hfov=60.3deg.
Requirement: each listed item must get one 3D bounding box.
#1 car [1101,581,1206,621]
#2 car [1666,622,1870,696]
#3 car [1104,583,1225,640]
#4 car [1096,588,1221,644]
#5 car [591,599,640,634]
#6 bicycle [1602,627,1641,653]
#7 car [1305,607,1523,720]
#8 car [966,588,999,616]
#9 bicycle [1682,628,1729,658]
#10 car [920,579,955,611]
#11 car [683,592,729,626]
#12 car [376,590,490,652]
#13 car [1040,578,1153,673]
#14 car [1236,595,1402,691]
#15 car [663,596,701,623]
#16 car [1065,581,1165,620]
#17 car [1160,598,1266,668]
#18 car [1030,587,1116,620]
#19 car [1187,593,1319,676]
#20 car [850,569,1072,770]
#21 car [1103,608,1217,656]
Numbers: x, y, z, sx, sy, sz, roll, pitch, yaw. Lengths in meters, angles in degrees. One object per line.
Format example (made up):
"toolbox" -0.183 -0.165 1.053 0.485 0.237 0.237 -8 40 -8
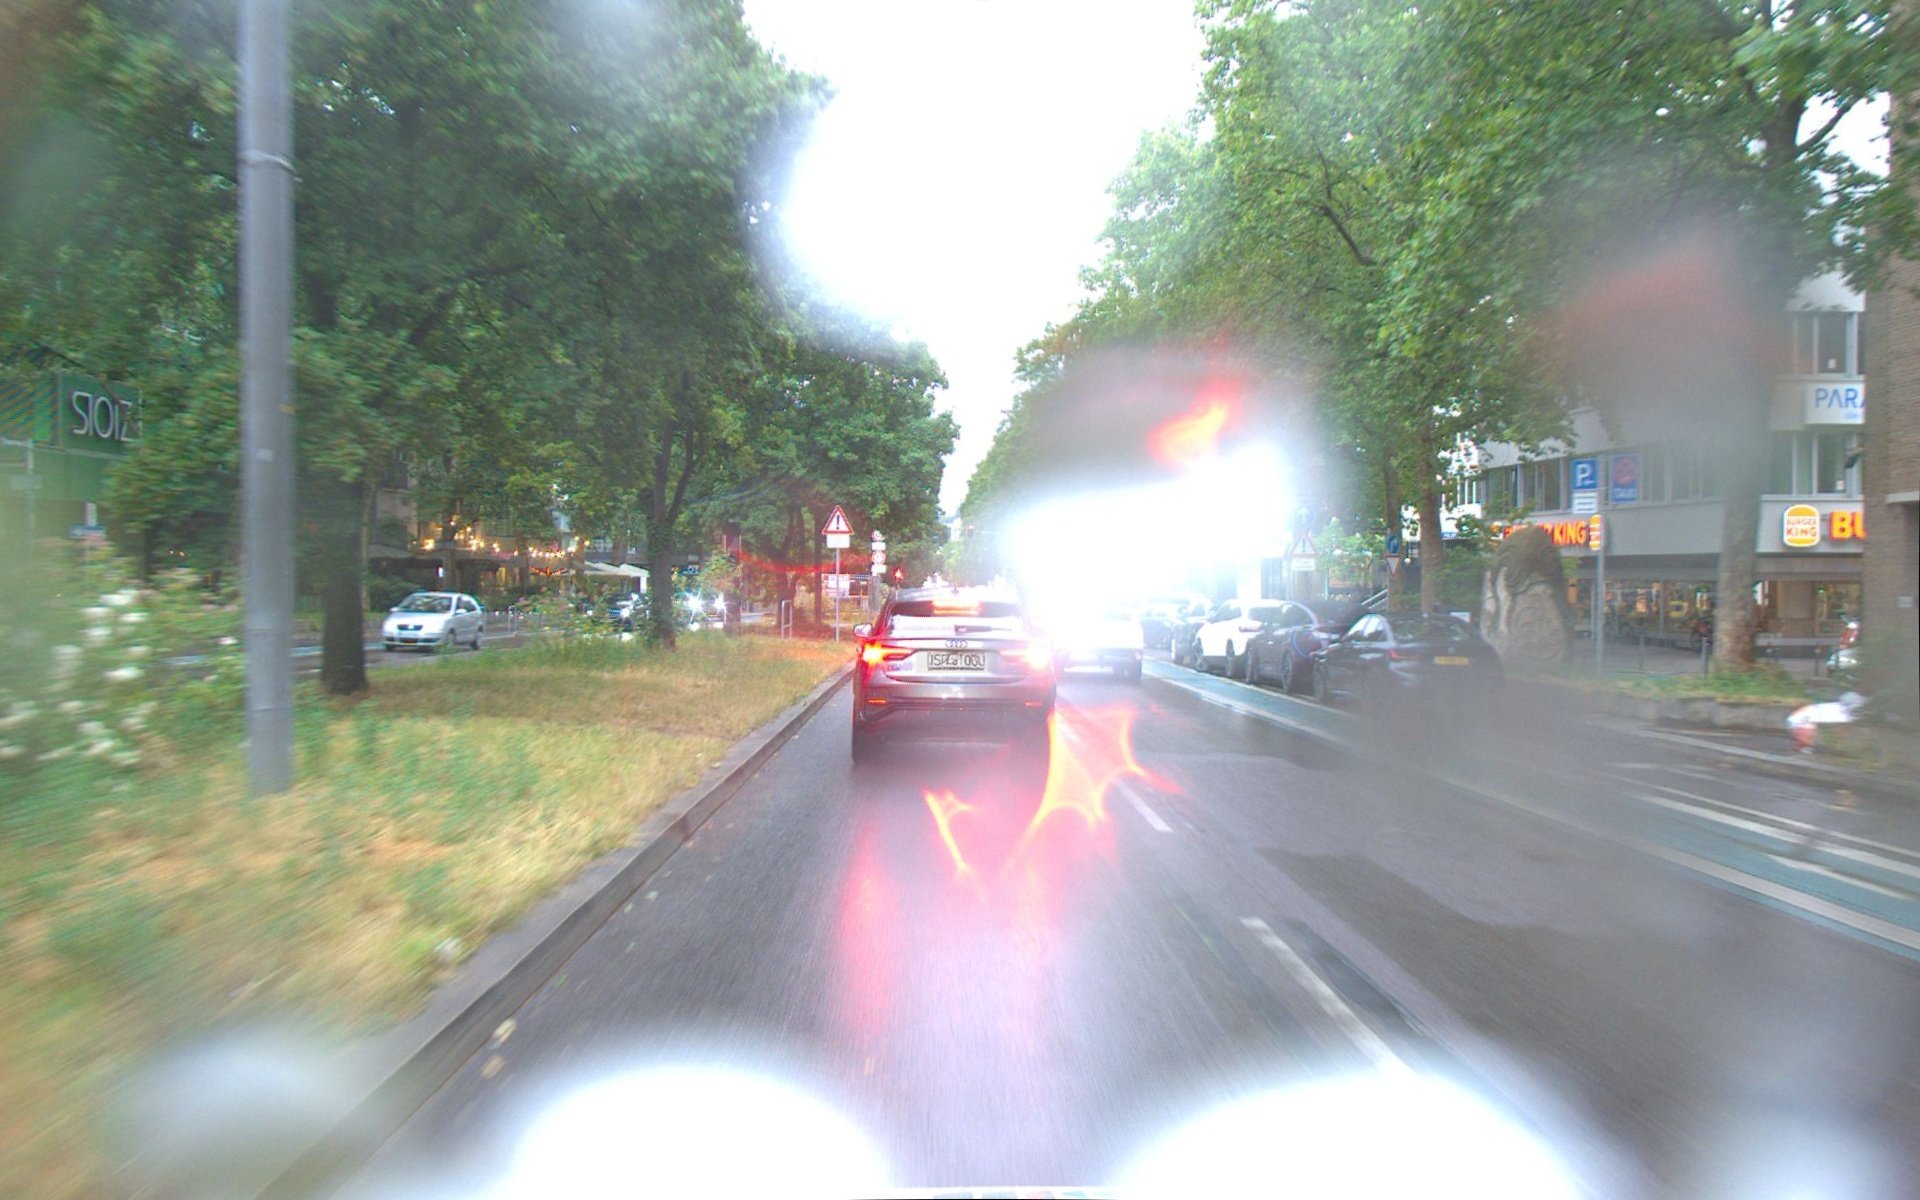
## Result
"car" 9.200 0.044 78.630 4.548 1.736 1.998 2 -1 27
"car" 19.752 1.424 40.634 4.155 1.594 2.056 2 -1 16
"car" 8.853 0.493 71.676 4.787 2.293 1.997 2 -1 28
"car" 7.867 0.626 65.588 4.517 2.049 1.960 2 -1 37
"car" -13.516 0.651 65.031 1.658 1.280 3.637 3 -1 -9
"bicycle" 22.260 1.334 55.705 0.439 0.851 2.026 2 -1 -1
"car" 6.603 0.865 24.594 1.835 1.446 4.610 2 0 -1
"car" 1.422 0.139 107.089 1.953 1.680 3.999 2 -1 -1
"bicycle" 22.555 1.285 50.068 0.439 0.851 2.026 2 -1 -1
"car" -1.389 -0.282 98.745 1.953 1.757 3.998 2 -1 -2
"car" -14.049 0.505 91.522 1.724 1.733 4.333 2 -1 1
"car" -13.234 0.531 41.741 1.615 1.460 3.812 1 -1 0
"car" 2.698 0.513 33.505 1.840 1.727 3.999 2 -1 -1
"car" 6.493 0.758 30.426 1.830 1.547 4.556 2 -1 -3
"car" -17.456 0.609 104.128 1.691 1.545 3.999 2 -1 -1
"car" 7.760 0.005 82.698 4.548 1.736 1.998 2 -1 27
"car" 6.081 0.789 40.140 1.662 1.550 4.020 2 -1 -4
"car" 6.616 0.224 96.707 4.548 1.736 1.998 2 -1 27
"car" 6.141 0.713 35.142 1.694 1.599 4.068 2 -1 -5
"car" -0.058 0.588 15.778 1.812 1.630 3.998 2 0 -2
"car" 6.460 1.014 53.652 1.544 1.402 3.825 3 -1 -33
